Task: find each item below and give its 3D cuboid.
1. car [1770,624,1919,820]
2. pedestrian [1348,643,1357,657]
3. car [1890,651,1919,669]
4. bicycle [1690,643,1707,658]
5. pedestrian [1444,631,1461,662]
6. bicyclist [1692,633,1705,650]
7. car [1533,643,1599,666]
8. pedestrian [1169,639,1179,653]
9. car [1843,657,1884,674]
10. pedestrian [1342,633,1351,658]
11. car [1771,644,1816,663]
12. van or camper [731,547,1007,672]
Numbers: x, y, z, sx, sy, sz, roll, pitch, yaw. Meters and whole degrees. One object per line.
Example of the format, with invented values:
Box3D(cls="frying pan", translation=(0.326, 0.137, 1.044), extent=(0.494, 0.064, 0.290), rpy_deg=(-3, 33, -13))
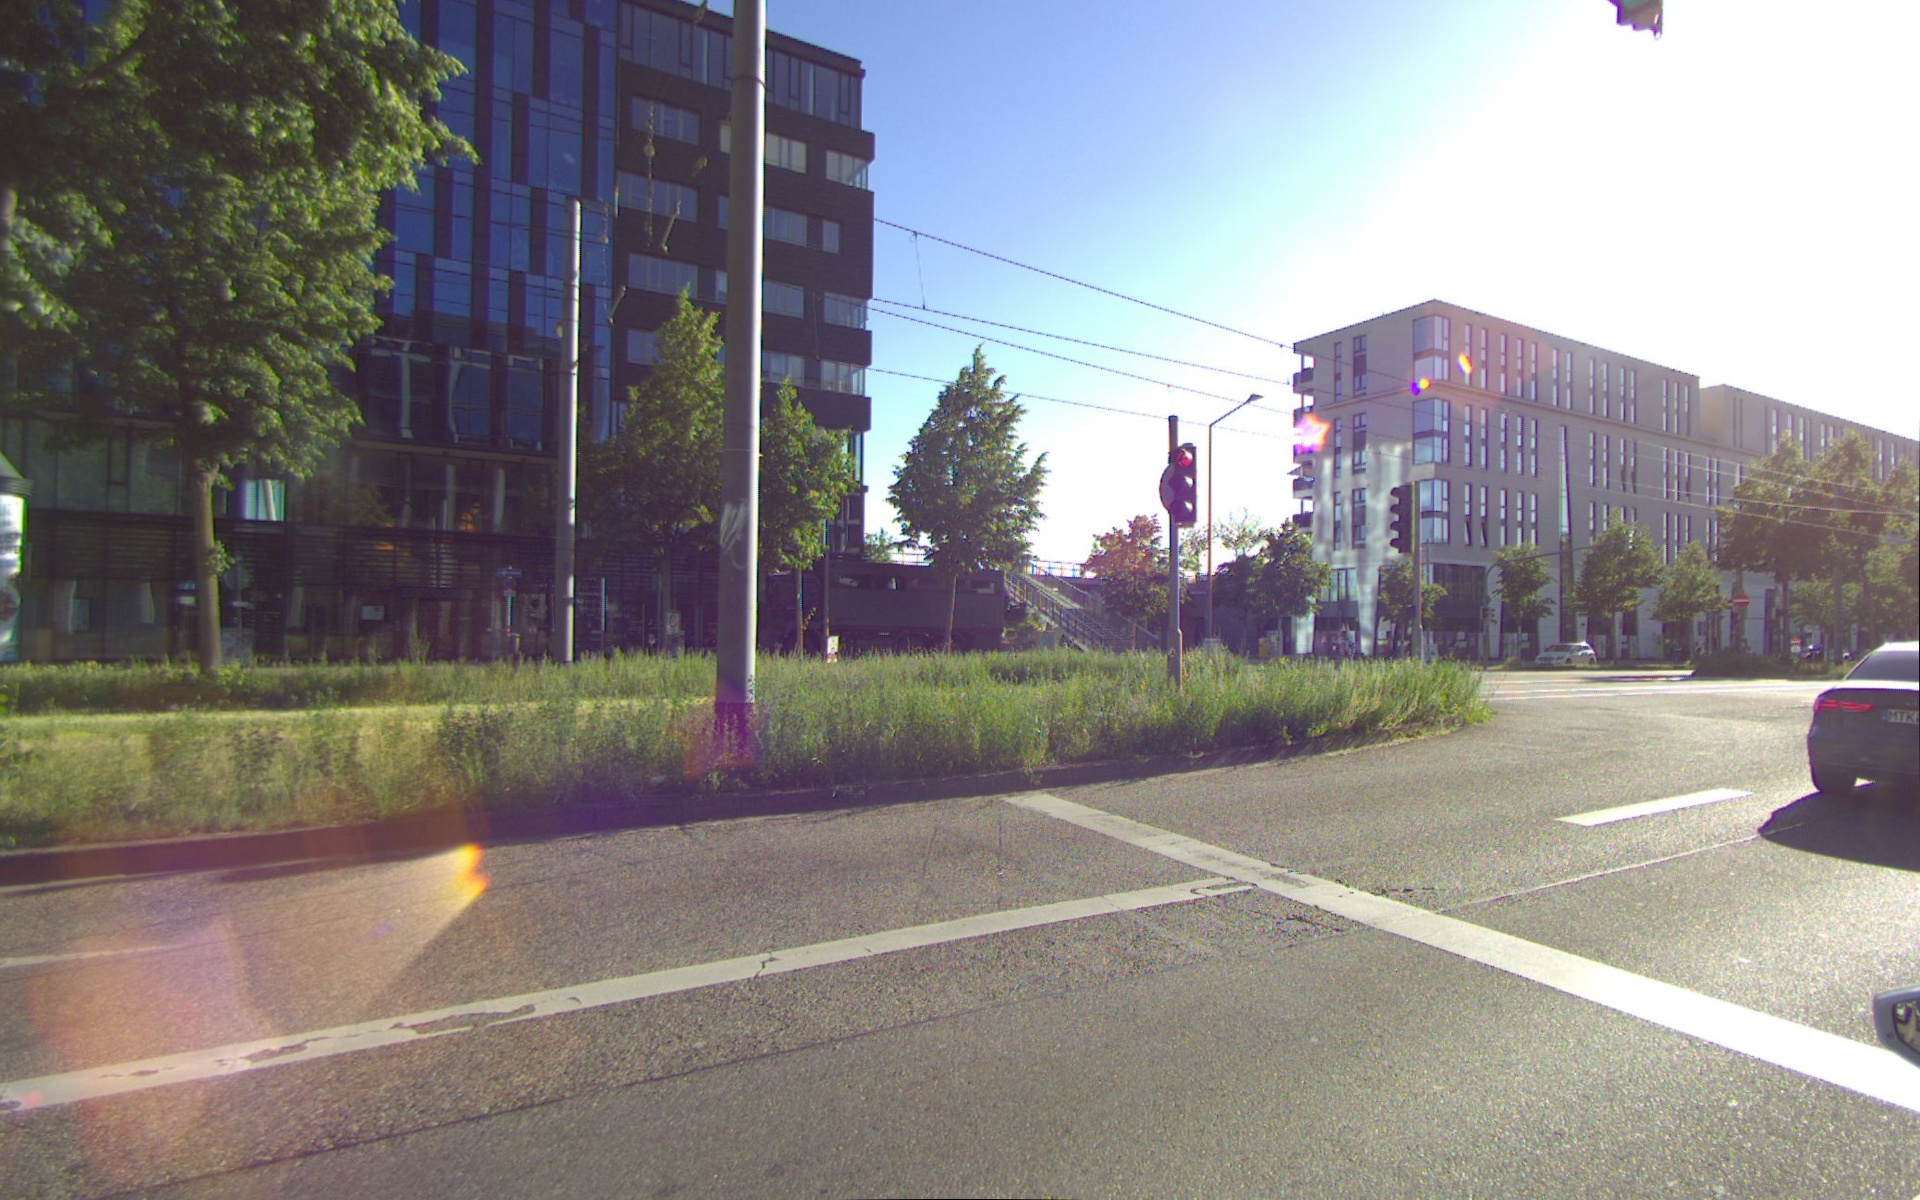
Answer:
Box3D(cls="car", translation=(9.232, 1.026, 9.157), extent=(4.071, 1.548, 1.797), rpy_deg=(2, -2, -34))
Box3D(cls="pedestrian", translation=(28.498, 3.631, 72.985), extent=(0.589, 0.932, 0.433), rpy_deg=(1, -1, 24))
Box3D(cls="car", translation=(85.908, 5.410, 90.813), extent=(3.762, 1.548, 1.767), rpy_deg=(2, -2, -31))
Box3D(cls="bicycle", translation=(58.648, 4.016, 79.769), extent=(1.619, 1.125, 0.526), rpy_deg=(2, -1, -30))
Box3D(cls="pedestrian", translation=(29.229, 2.750, 59.580), extent=(0.792, 1.836, 0.575), rpy_deg=(2, -1, -34))
Box3D(cls="bicyclist", translation=(58.678, 3.279, 79.801), extent=(0.697, 1.310, 0.575), rpy_deg=(2, -1, -31))
Box3D(cls="car", translation=(36.683, 3.301, 60.749), extent=(4.420, 1.360, 1.572), rpy_deg=(2, -2, -31))
Box3D(cls="pedestrian", translation=(17.147, 3.690, 80.480), extent=(0.593, 1.140, 0.437), rpy_deg=(2, -1, -28))
Box3D(cls="car", translation=(75.488, 5.439, 83.946), extent=(3.669, 1.360, 1.572), rpy_deg=(2, -2, -31))
Box3D(cls="pedestrian", translation=(27.907, 3.294, 72.542), extent=(0.589, 1.795, 0.672), rpy_deg=(1, -1, 24))
Box3D(cls="car", translation=(64.465, 4.152, 77.669), extent=(3.669, 1.360, 1.572), rpy_deg=(2, -2, -31))
Box3D(cls="van or camper", translation=(-3.223, 0.516, 37.807), extent=(10.109, 4.247, 2.741), rpy_deg=(2, -2, -30))
